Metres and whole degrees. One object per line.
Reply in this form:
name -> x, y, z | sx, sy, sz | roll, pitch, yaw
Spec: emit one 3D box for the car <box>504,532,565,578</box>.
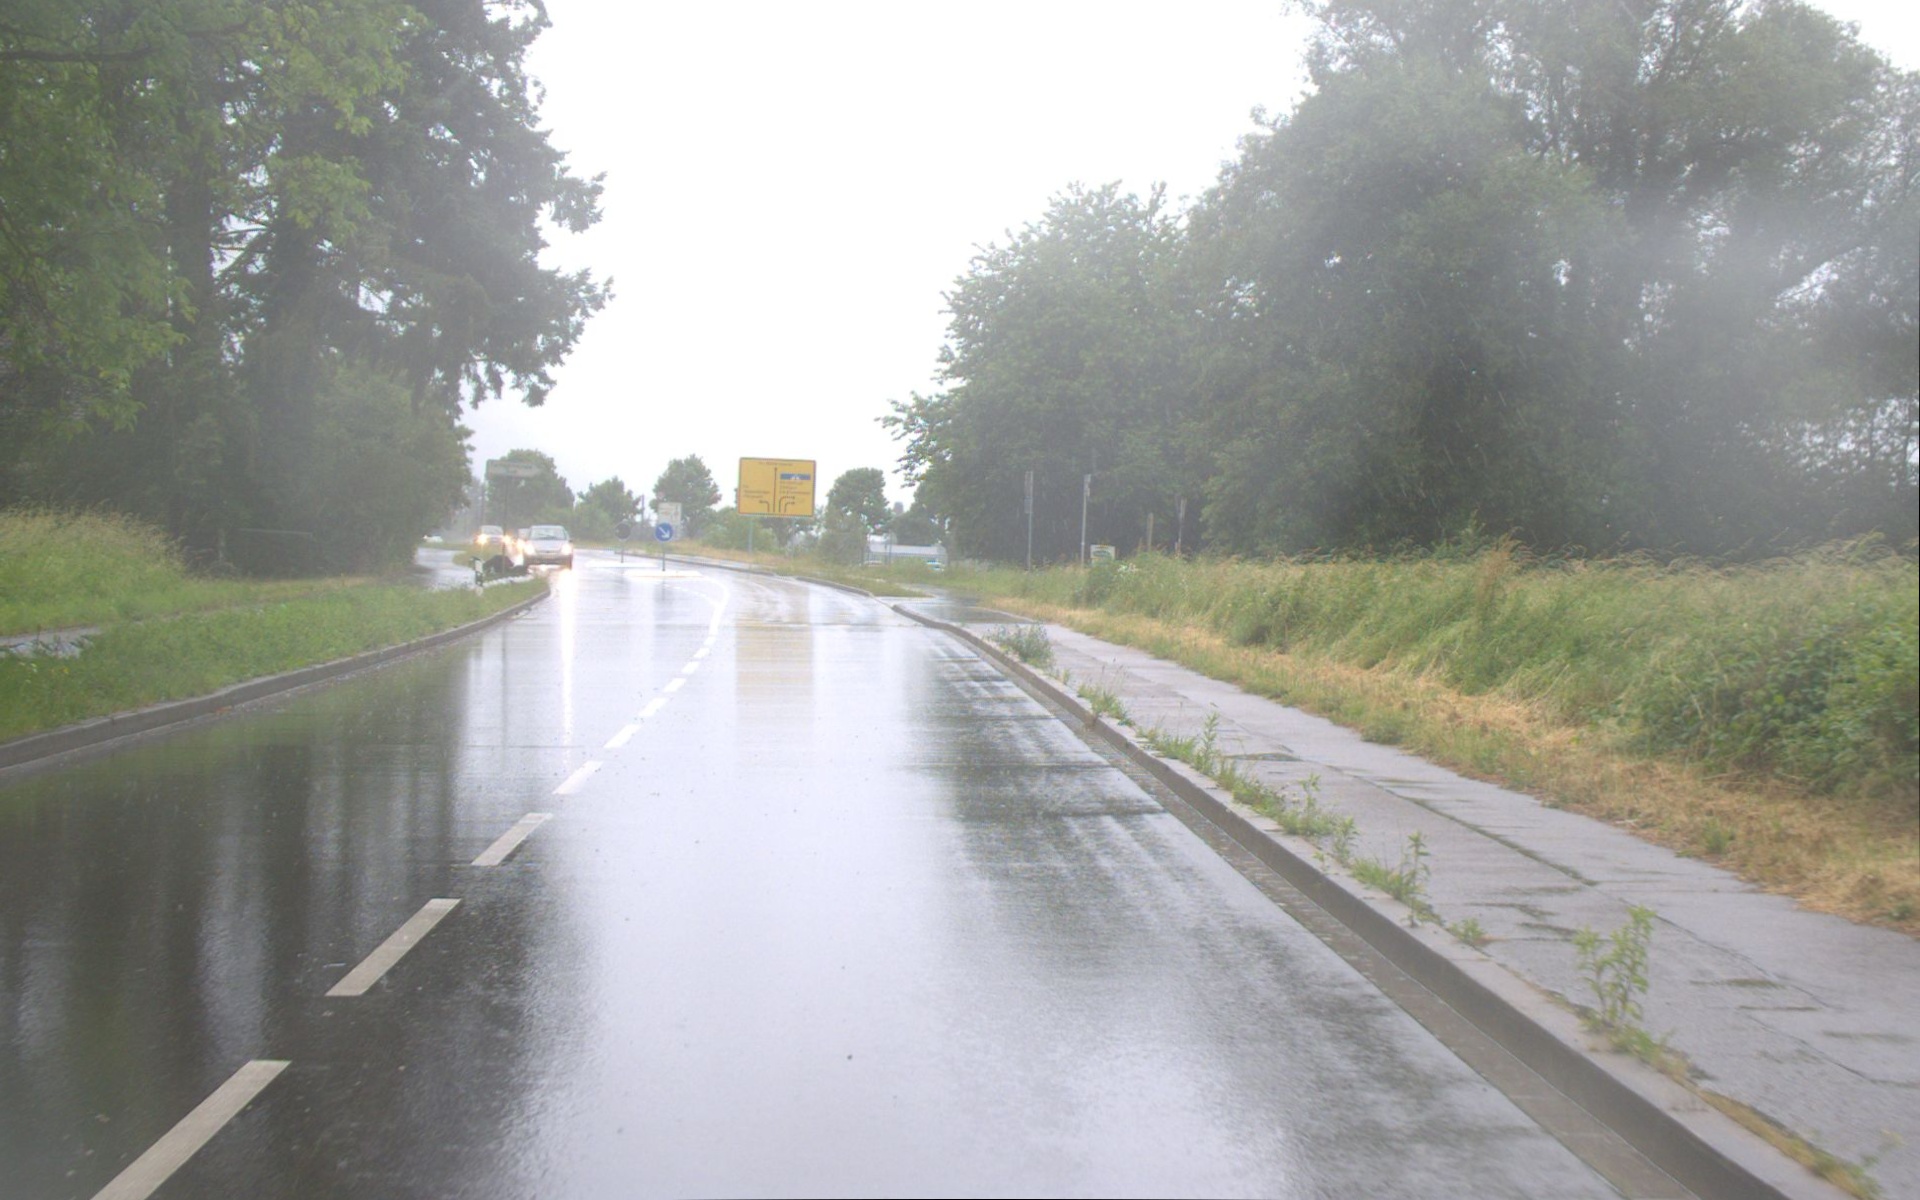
car -> -15.775, -1.674, 127.361 | 1.760, 1.547, 4.002 | 1, 2, -13
